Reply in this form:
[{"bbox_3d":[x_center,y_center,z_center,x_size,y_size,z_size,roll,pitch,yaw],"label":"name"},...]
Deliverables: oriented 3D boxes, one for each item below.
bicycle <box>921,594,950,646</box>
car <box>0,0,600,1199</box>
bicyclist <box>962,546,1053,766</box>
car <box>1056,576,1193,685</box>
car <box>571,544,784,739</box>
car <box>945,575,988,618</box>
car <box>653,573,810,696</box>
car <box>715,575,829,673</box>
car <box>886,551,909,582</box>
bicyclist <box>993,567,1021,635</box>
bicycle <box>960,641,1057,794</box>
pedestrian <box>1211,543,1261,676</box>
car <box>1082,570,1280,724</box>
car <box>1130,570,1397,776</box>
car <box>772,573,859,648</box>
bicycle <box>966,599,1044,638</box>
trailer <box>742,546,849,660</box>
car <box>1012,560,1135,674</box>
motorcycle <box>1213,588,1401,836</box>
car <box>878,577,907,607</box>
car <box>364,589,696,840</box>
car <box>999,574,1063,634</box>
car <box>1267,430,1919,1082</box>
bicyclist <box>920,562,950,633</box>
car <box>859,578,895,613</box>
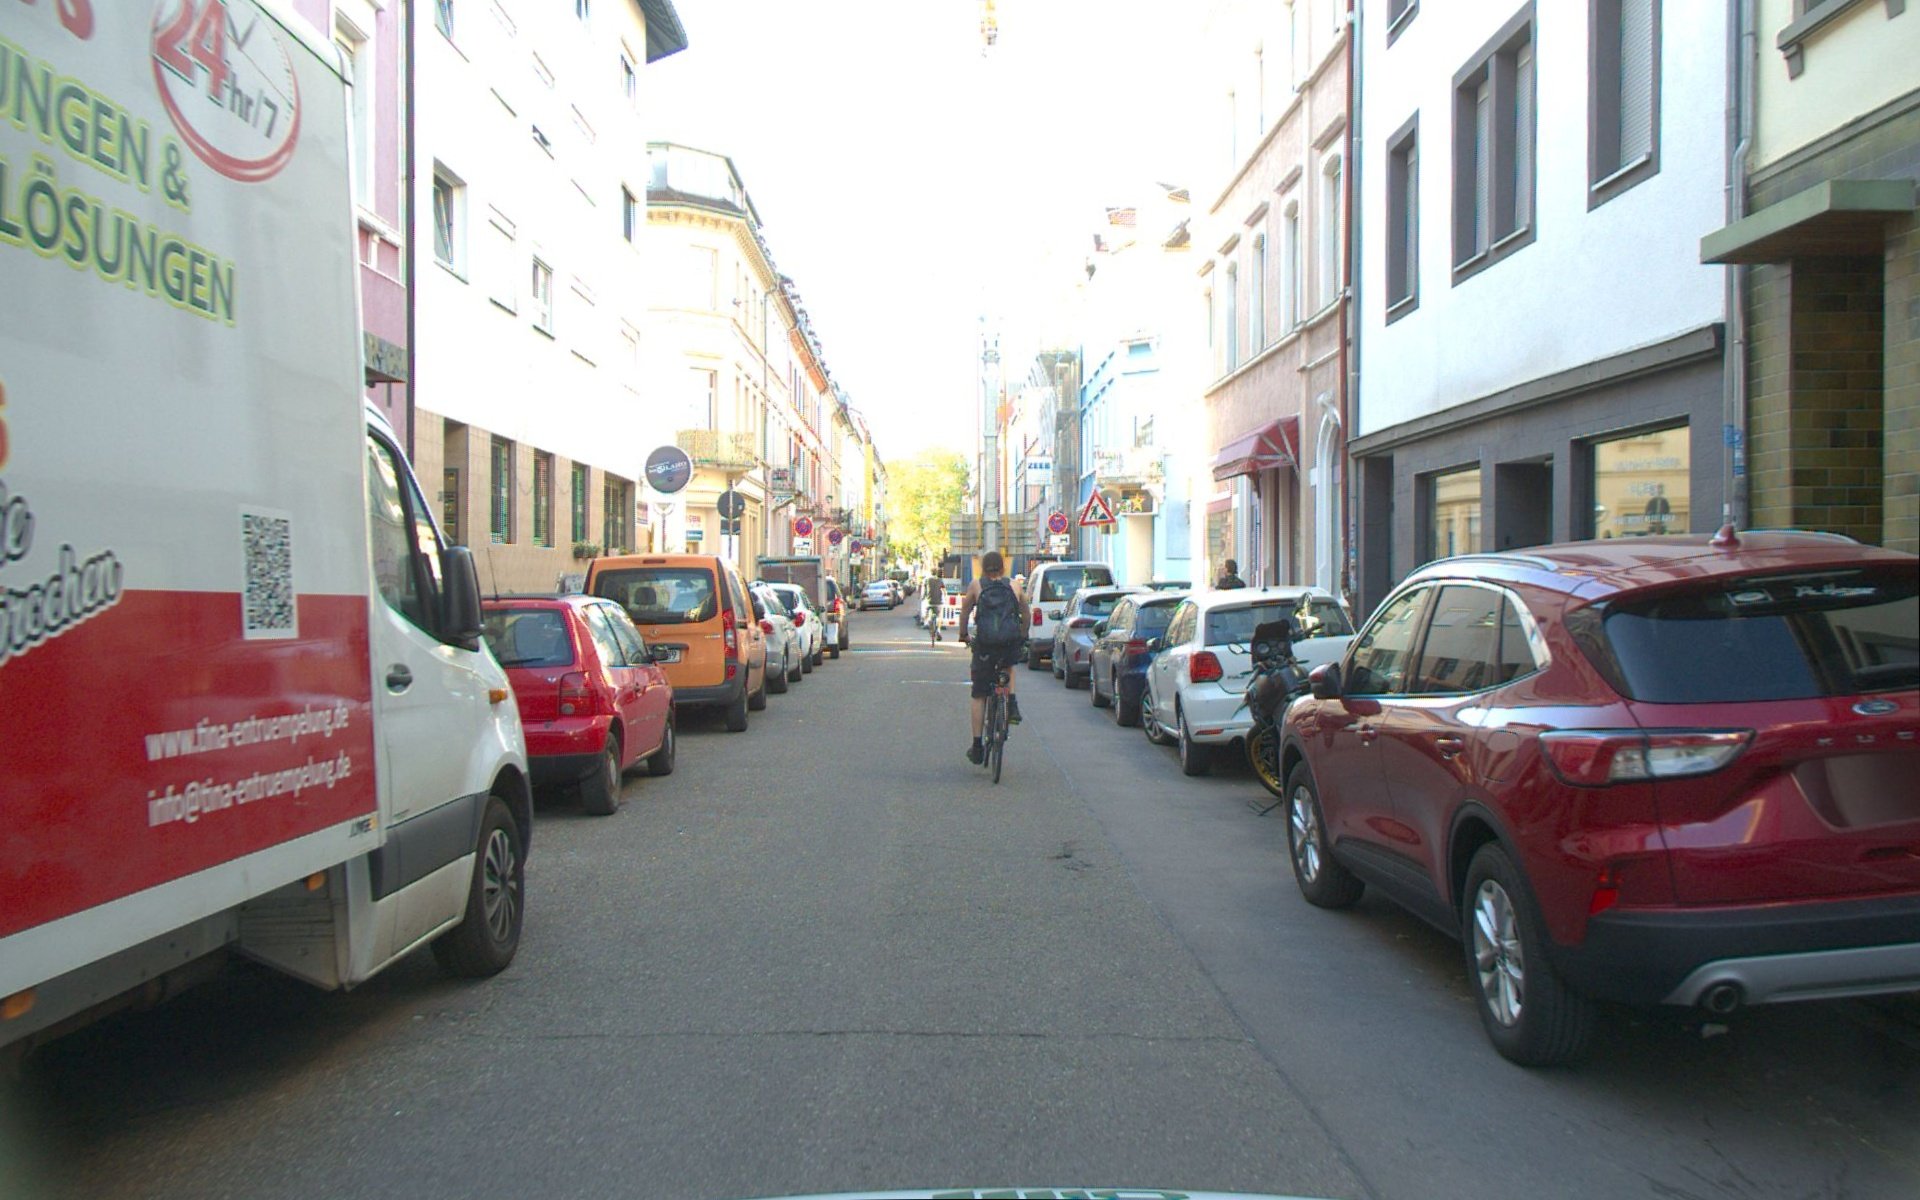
[{"bbox_3d":[-0.569,0.432,37.597,0.635,1.149,2.135,1,0,-1],"label":"bicycle"},{"bbox_3d":[-2.793,-0.135,3.834,2.296,3.349,7.153,-2,0,-1],"label":"car"},{"bbox_3d":[0.369,0.433,13.425,0.654,1.706,1.097,1,0,-2],"label":"bicyclist"},{"bbox_3d":[2.438,0.424,25.334,1.714,1.512,3.800,-1,0,0],"label":"car"},{"bbox_3d":[-2.990,0.399,18.296,1.717,1.848,4.077,-2,0,-2],"label":"car"},{"bbox_3d":[0.227,-0.133,63.774,1.578,1.587,3.609,1,0,-1],"label":"car"},{"bbox_3d":[-3.180,0.447,23.764,1.715,1.564,4.318,-1,0,-1],"label":"car"},{"bbox_3d":[-3.215,0.383,28.796,1.620,1.564,3.633,-1,0,-1],"label":"car"},{"bbox_3d":[-5.021,-2.684,133.089,1.715,2.358,3.795,-1,0,-1],"label":"car"},{"bbox_3d":[1.202,0.024,42.383,0.668,1.736,0.381,1,0,-4],"label":"bicyclist"},{"bbox_3d":[0.364,0.906,13.409,0.663,1.093,1.941,1,0,-2],"label":"bicycle"},{"bbox_3d":[4.336,0.150,26.026,0.631,2.049,0.763,1,0,-2],"label":"pedestrian"},{"bbox_3d":[2.486,0.489,19.462,1.613,1.500,3.970,-4,0,-1],"label":"car"},{"bbox_3d":[2.595,0.564,14.967,1.633,1.531,3.816,-3,0,0],"label":"car"},{"bbox_3d":[-3.255,0.223,37.783,1.715,1.600,3.795,-1,0,-1],"label":"car"},{"bbox_3d":[1.149,0.471,42.441,1.956,0.975,0.478,1,0,-4],"label":"bicycle"},{"bbox_3d":[-3.270,0.047,33.468,1.844,2.129,3.736,-1,0,-1],"label":"trailer"},{"bbox_3d":[2.015,0.286,30.386,1.715,1.911,3.970,-1,0,-4],"label":"car"},{"bbox_3d":[2.311,0.683,11.341,0.732,1.516,2.421,1,0,-1],"label":"motorcycle"},{"bbox_3d":[-4.254,-0.506,104.413,1.715,1.853,3.795,-1,0,-1],"label":"car"},{"bbox_3d":[-3.024,0.723,12.323,1.546,1.509,3.564,-3,0,-2],"label":"car"},{"bbox_3d":[2.017,0.104,47.707,1.578,1.662,3.609,1,0,-1],"label":"car"},{"bbox_3d":[2.628,0.386,6.622,1.879,1.735,4.365,-1,1,-2],"label":"car"},{"bbox_3d":[-0.570,-0.051,37.640,0.657,1.594,0.716,1,0,-2],"label":"bicyclist"},{"bbox_3d":[-4.325,-0.241,86.648,1.715,1.713,3.795,-1,0,-1],"label":"car"}]
